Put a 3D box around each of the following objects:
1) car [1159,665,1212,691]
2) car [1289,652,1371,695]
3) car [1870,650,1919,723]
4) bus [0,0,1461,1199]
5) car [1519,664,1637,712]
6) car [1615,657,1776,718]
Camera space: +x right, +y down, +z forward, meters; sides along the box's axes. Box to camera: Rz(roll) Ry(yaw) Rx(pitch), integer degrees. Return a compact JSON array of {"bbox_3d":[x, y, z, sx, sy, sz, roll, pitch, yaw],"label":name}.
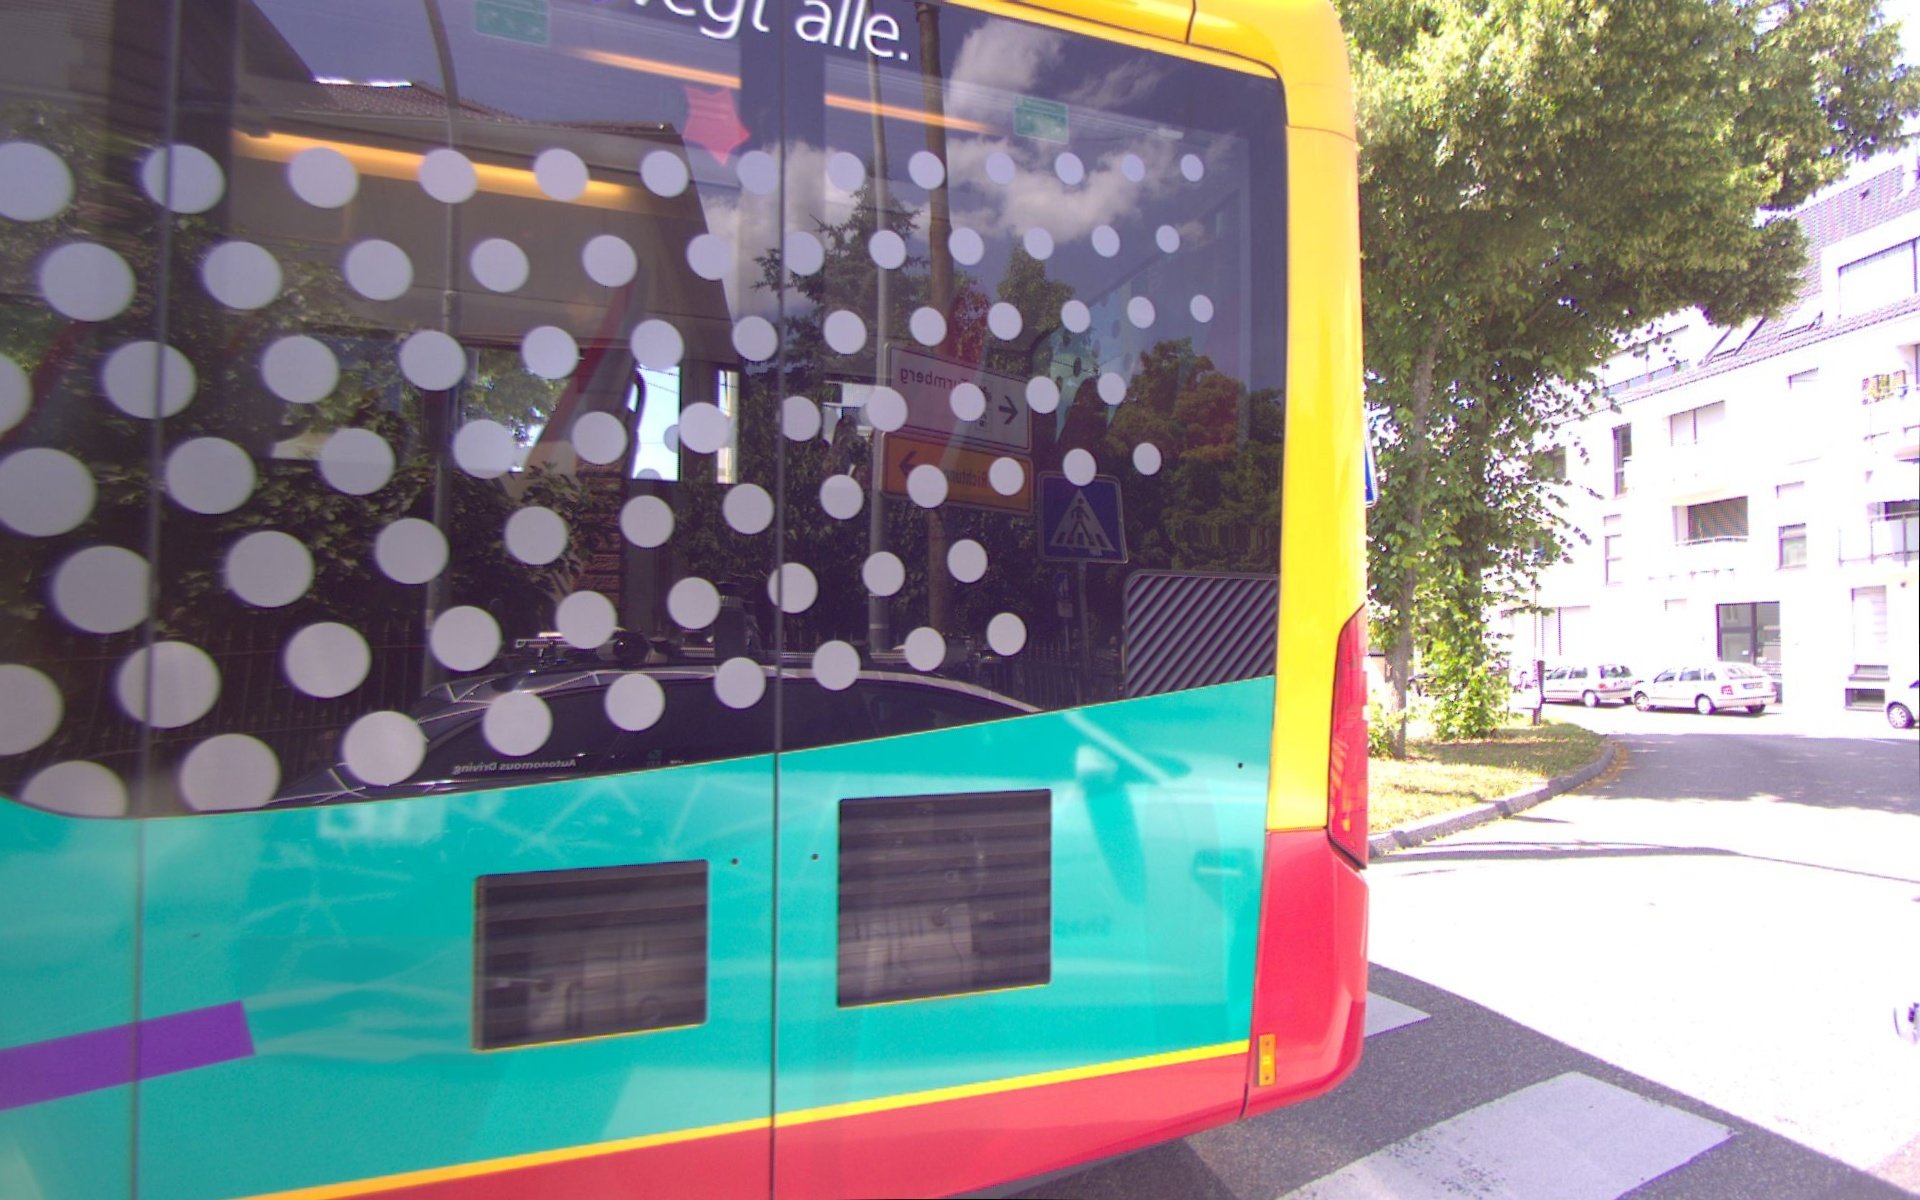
[{"bbox_3d":[13.217,4.586,59.066,1.754,1.260,3.996,3,-2,-8],"label":"car"},{"bbox_3d":[14.474,2.887,39.520,1.856,1.572,4.400,0,-4,4],"label":"car"},{"bbox_3d":[21.925,1.925,21.546,1.553,1.607,3.619,3,-2,1],"label":"car"},{"bbox_3d":[-5.034,-0.335,1.539,12.116,3.251,2.777,1,-1,-19],"label":"bus"},{"bbox_3d":[20.737,2.934,33.867,1.396,1.375,3.500,-3,-2,-8],"label":"car"},{"bbox_3d":[21.255,2.474,29.239,1.629,1.485,3.908,-3,-2,-3],"label":"car"}]
